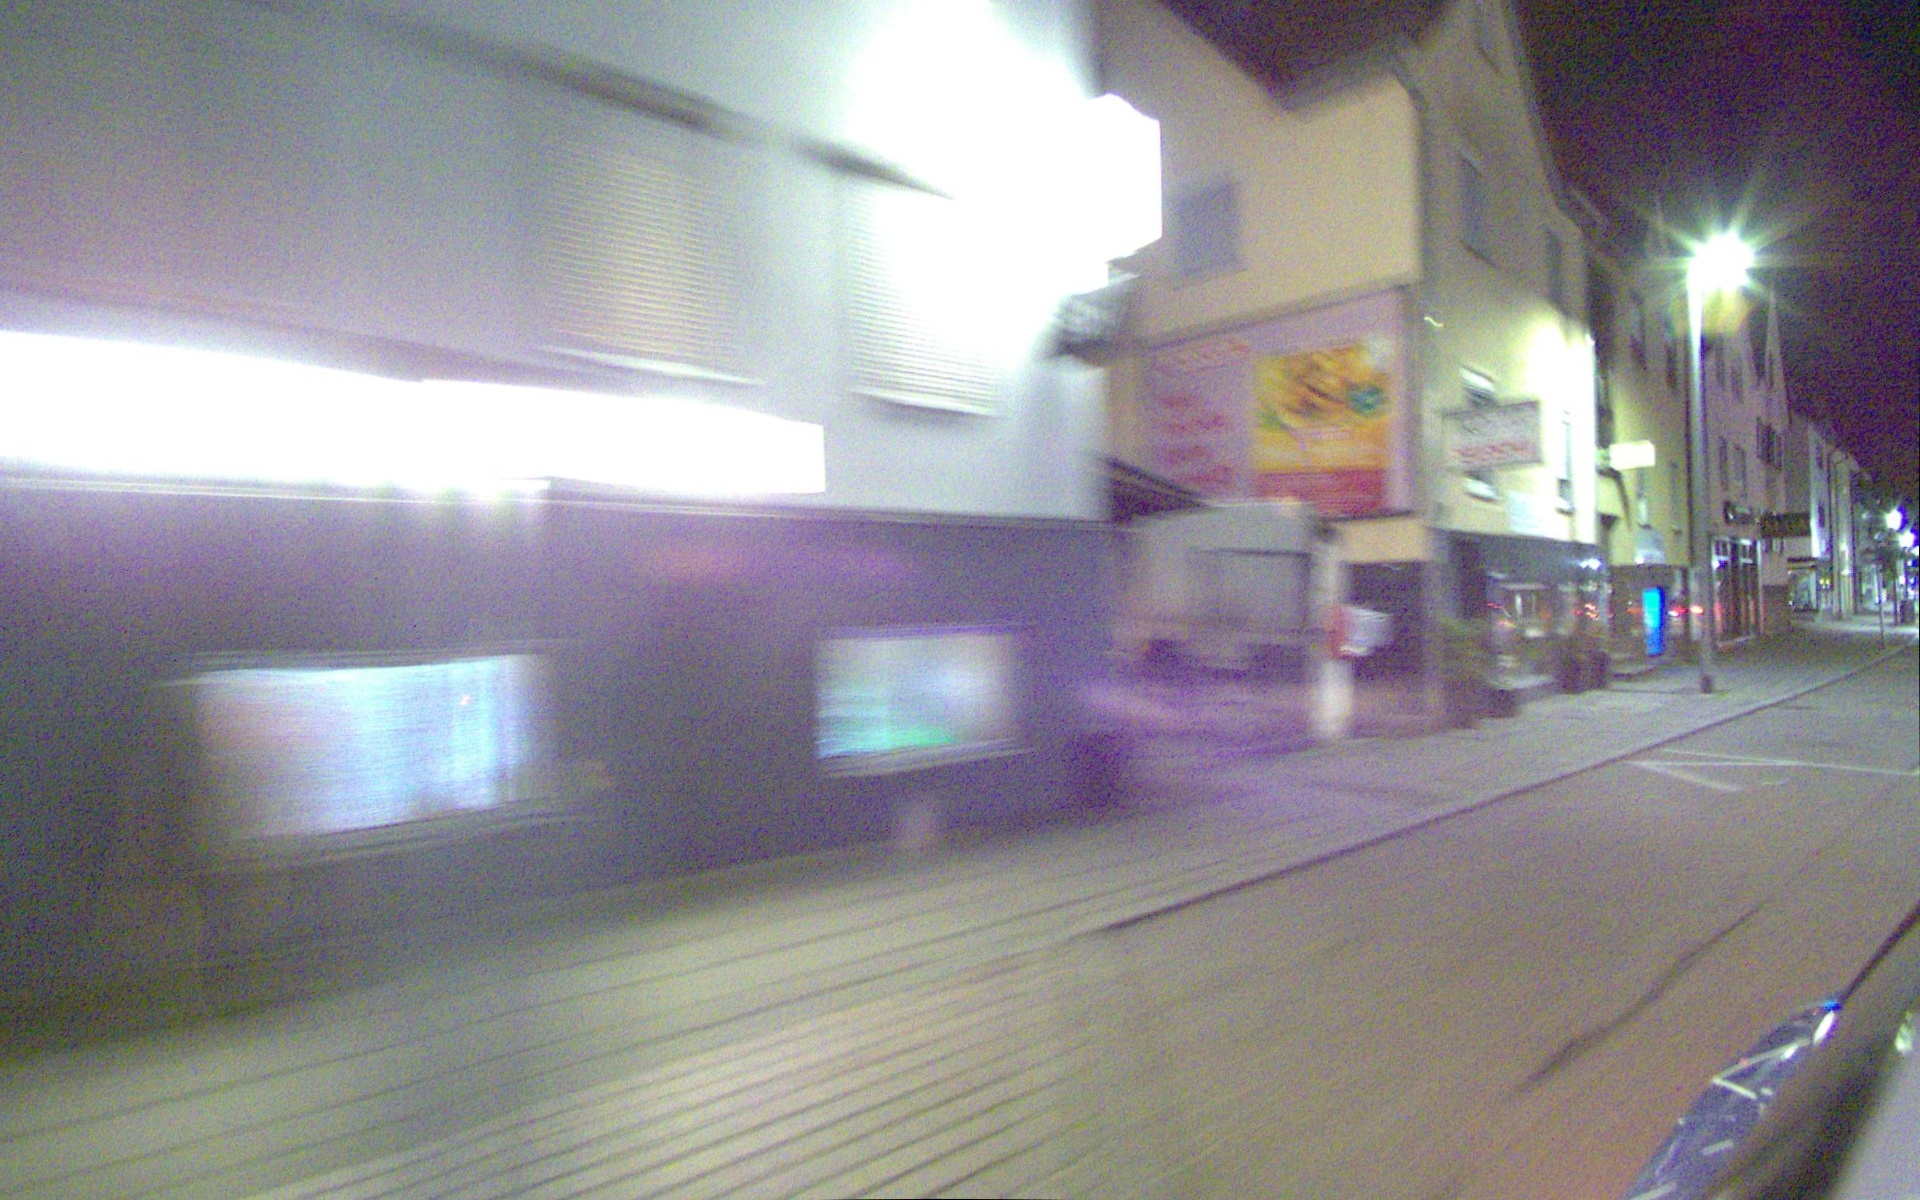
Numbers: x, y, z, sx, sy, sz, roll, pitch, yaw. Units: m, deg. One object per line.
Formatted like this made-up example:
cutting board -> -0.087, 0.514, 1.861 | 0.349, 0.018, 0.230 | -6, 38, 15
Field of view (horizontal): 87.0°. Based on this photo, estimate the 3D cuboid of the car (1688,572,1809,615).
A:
car -> 33.977, -0.311, 43.687 | 3.908, 1.607, 1.618 | 6, 4, 45
